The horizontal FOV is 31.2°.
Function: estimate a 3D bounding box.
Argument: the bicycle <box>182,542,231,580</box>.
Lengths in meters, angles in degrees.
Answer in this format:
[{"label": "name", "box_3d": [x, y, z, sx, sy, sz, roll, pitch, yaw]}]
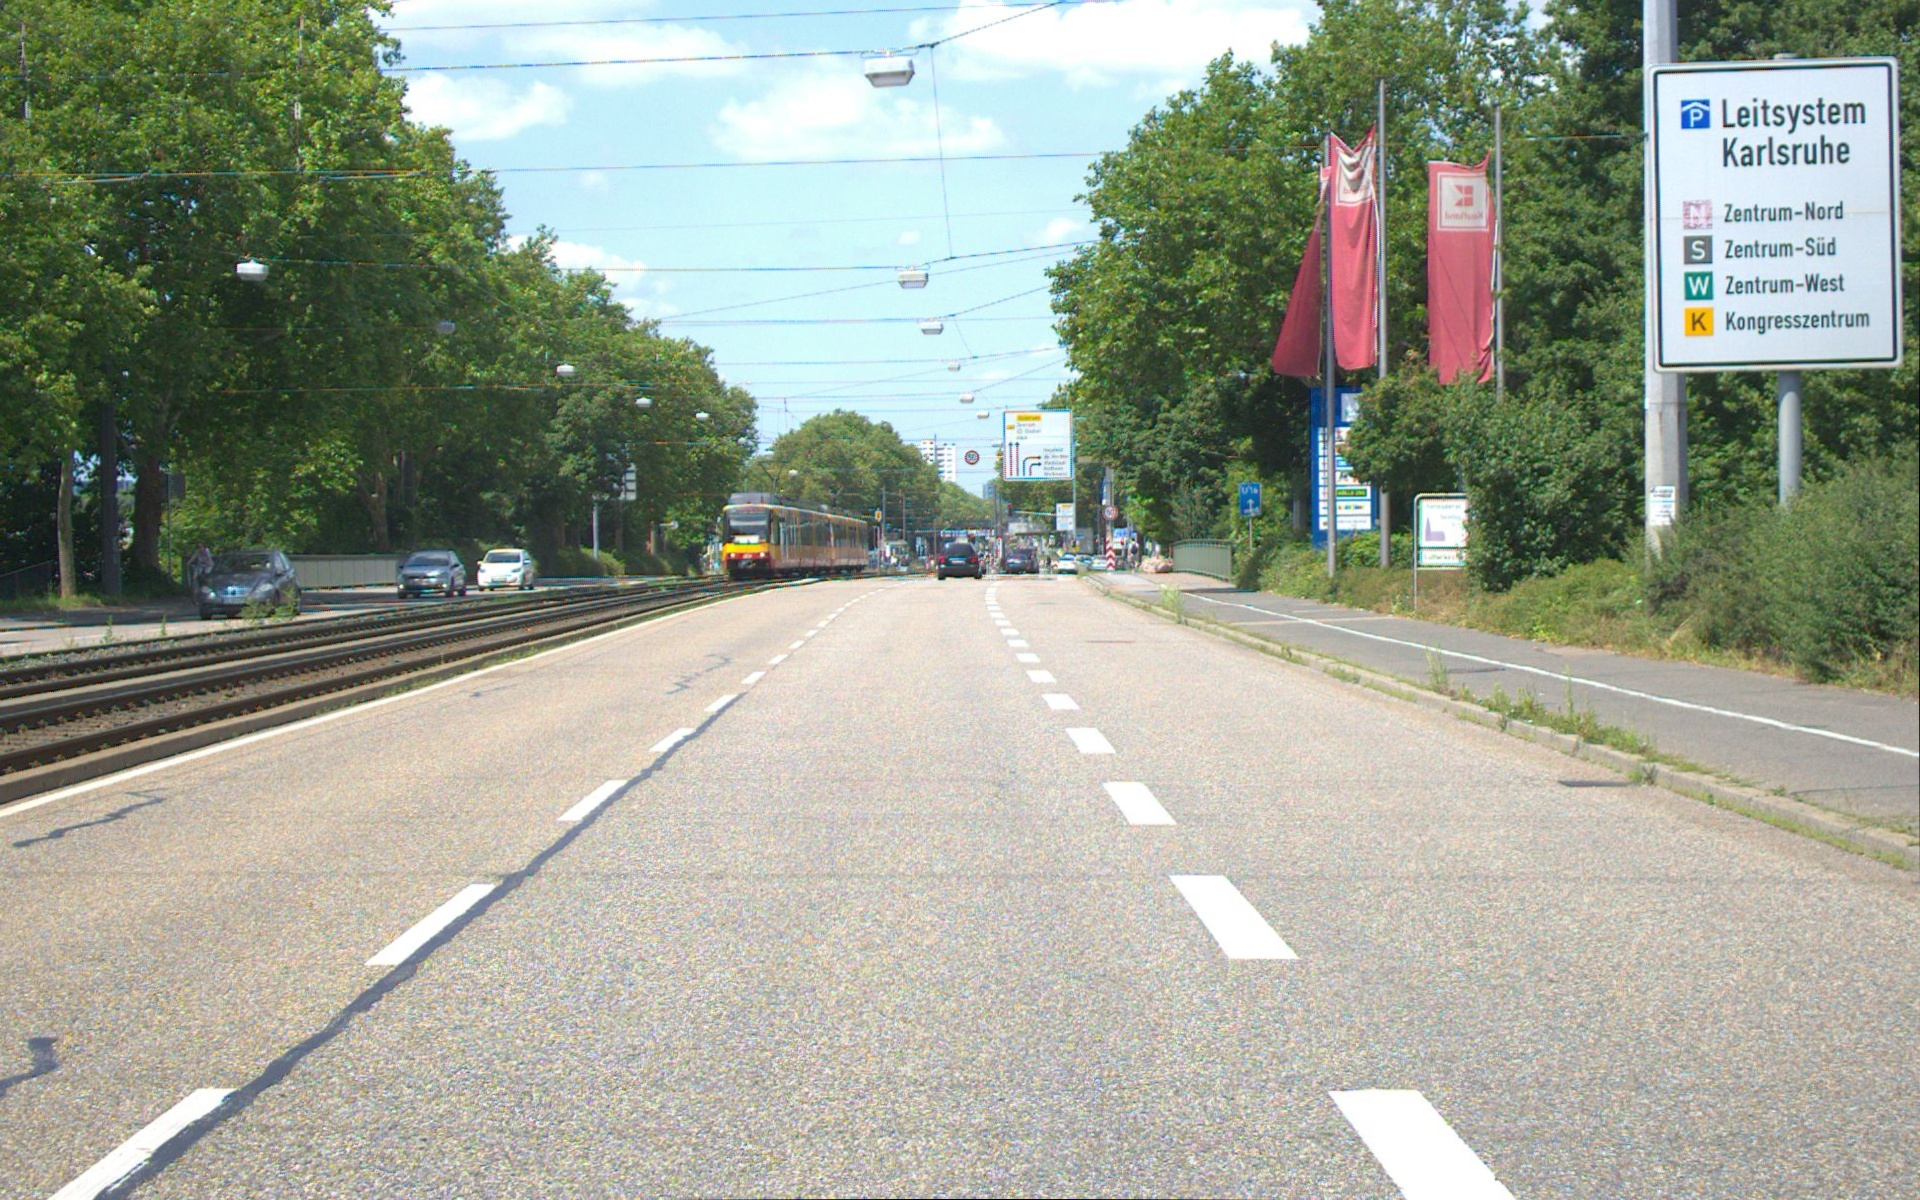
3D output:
[{"label": "bicycle", "box_3d": [-19.957, -1.044, 91.121, 0.623, 0.976, 2.054, 2, 1, 6]}]

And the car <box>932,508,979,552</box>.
[{"label": "car", "box_3d": [-0.201, -2.967, 146.114, 1.899, 1.799, 3.977, 2, 1, -1]}]

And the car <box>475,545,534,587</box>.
[{"label": "car", "box_3d": [-16.359, -1.238, 123.534, 1.636, 1.431, 3.722, -2, 1, -1]}]

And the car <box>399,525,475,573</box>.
[{"label": "car", "box_3d": [-16.088, -1.568, 105.914, 1.636, 1.417, 4.127, -1, 1, 0]}]

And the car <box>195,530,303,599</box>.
[{"label": "car", "box_3d": [-16.561, -0.851, 80.214, 1.752, 1.530, 3.957, -1, 1, -1]}]

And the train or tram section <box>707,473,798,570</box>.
[{"label": "train or tram section", "box_3d": [-9.539, -3.606, 159.776, 3.048, 4.252, 15.423, 0, 1, 1]}]

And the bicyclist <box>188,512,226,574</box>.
[{"label": "bicyclist", "box_3d": [-19.944, -1.517, 91.064, 0.623, 1.612, 1.062, 2, 1, 6]}]
